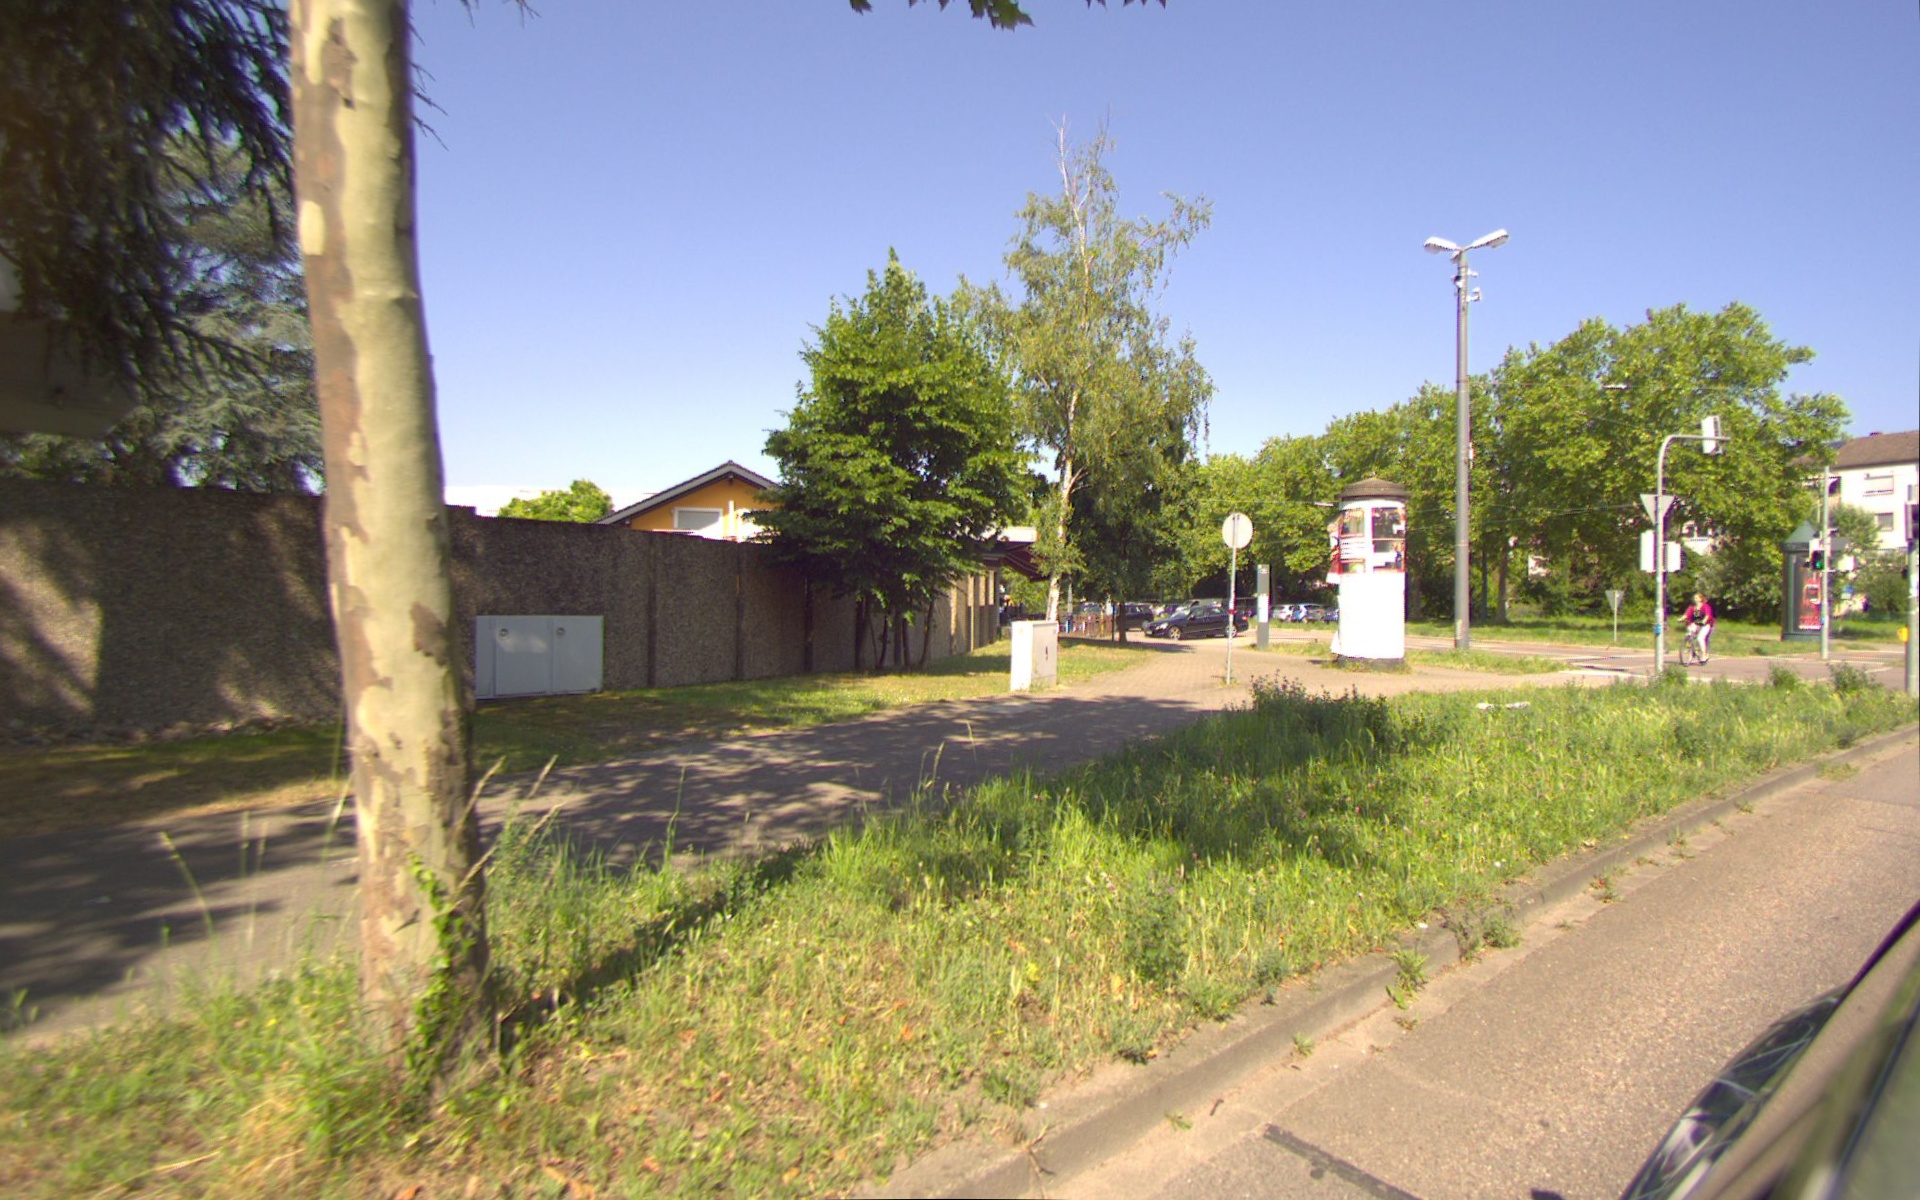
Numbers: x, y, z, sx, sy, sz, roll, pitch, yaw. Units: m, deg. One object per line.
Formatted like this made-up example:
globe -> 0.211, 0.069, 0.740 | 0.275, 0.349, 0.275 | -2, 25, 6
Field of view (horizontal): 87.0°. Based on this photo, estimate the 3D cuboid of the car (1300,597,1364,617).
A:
car -> 28.589, 0.524, 77.788 | 4.263, 1.509, 2.004 | 1, 0, -21

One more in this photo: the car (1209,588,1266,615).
car -> 25.004, 0.108, 91.263 | 4.493, 2.318, 2.004 | 1, 0, -15

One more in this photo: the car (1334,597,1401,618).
car -> 29.233, 0.533, 72.607 | 4.263, 1.509, 2.004 | 0, 0, -21

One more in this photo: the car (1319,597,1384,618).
car -> 29.058, 0.541, 75.106 | 4.263, 1.509, 2.004 | 1, 0, -21

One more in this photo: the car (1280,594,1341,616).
car -> 27.720, 0.395, 80.089 | 4.263, 1.654, 2.004 | 1, -1, -21

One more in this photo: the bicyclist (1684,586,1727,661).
bicyclist -> 18.607, 0.575, 25.249 | 0.796, 1.809, 0.701 | 1, 0, -41

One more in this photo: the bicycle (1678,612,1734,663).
bicycle -> 18.643, 0.912, 25.277 | 2.088, 1.200, 0.692 | 1, 0, -42

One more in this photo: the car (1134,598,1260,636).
car -> 10.485, 0.728, 44.902 | 5.011, 1.517, 2.147 | -1, 1, -17

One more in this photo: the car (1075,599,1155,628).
car -> 8.479, 0.701, 55.181 | 4.130, 1.518, 2.141 | 0, -1, -39

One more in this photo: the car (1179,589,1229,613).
car -> 24.092, 0.116, 99.954 | 4.493, 2.237, 2.004 | 1, 0, -21

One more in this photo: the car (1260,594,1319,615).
car -> 26.976, 0.363, 82.787 | 4.263, 1.653, 2.004 | 1, 0, -21
